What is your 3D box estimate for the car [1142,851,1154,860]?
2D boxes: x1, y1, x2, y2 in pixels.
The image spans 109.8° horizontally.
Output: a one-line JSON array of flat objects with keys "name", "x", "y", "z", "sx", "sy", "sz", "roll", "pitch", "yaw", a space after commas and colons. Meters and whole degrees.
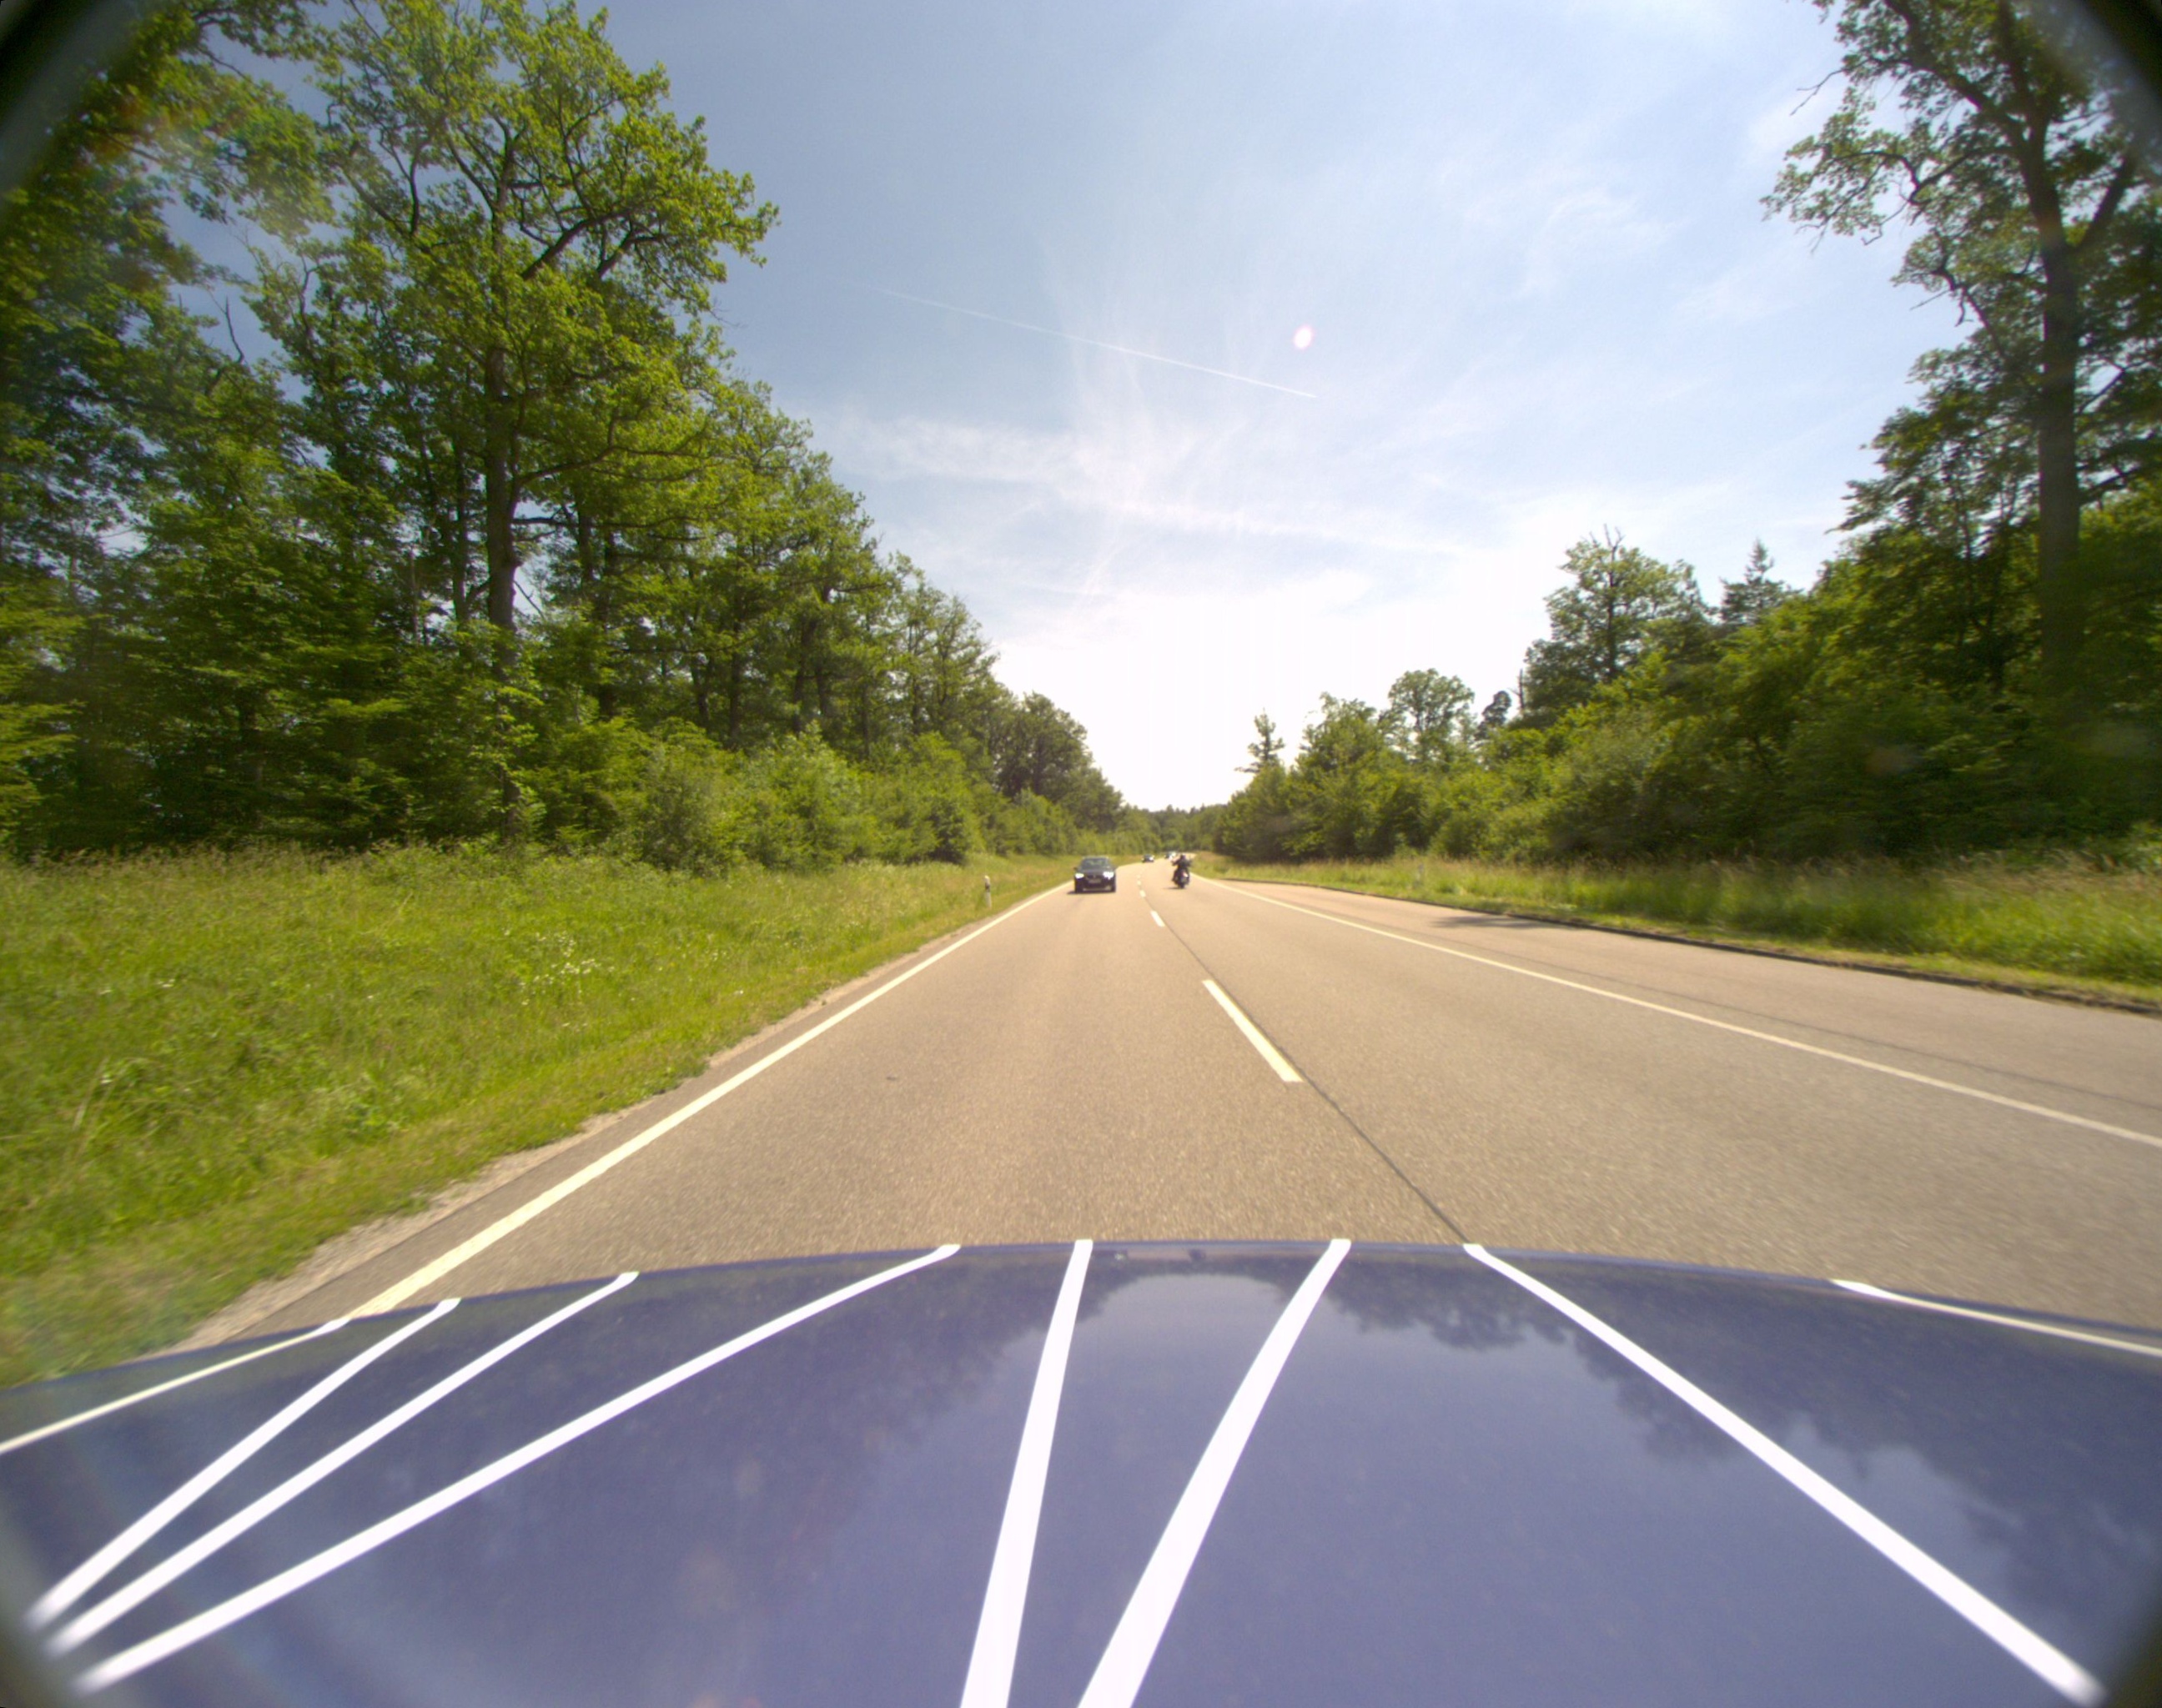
[{"name": "car", "x": 11.055, "y": 0.212, "z": 125.579, "sx": 1.775, "sy": 1.454, "sz": 3.950, "roll": -2, "pitch": 0, "yaw": 7}]

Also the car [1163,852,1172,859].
[{"name": "car", "x": 19.707, "y": 0.255, "z": 173.294, "sx": 1.774, "sy": 1.454, "sz": 4.003, "roll": -2, "pitch": 0, "yaw": 11}]

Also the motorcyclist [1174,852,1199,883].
[{"name": "motorcyclist", "x": 4.716, "y": 0.611, "z": 34.029, "sx": 1.012, "sy": 1.319, "sz": 0.966, "roll": -2, "pitch": 1, "yaw": 5}]

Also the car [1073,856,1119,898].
[{"name": "car", "x": 0.680, "y": 0.890, "z": 31.352, "sx": 1.713, "sy": 1.516, "sz": 4.242, "roll": -2, "pitch": 0, "yaw": 3}]

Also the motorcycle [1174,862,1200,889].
[{"name": "motorcycle", "x": 4.702, "y": 0.939, "z": 33.925, "sx": 1.016, "sy": 1.056, "sz": 2.773, "roll": -1, "pitch": 0, "yaw": 5}]
